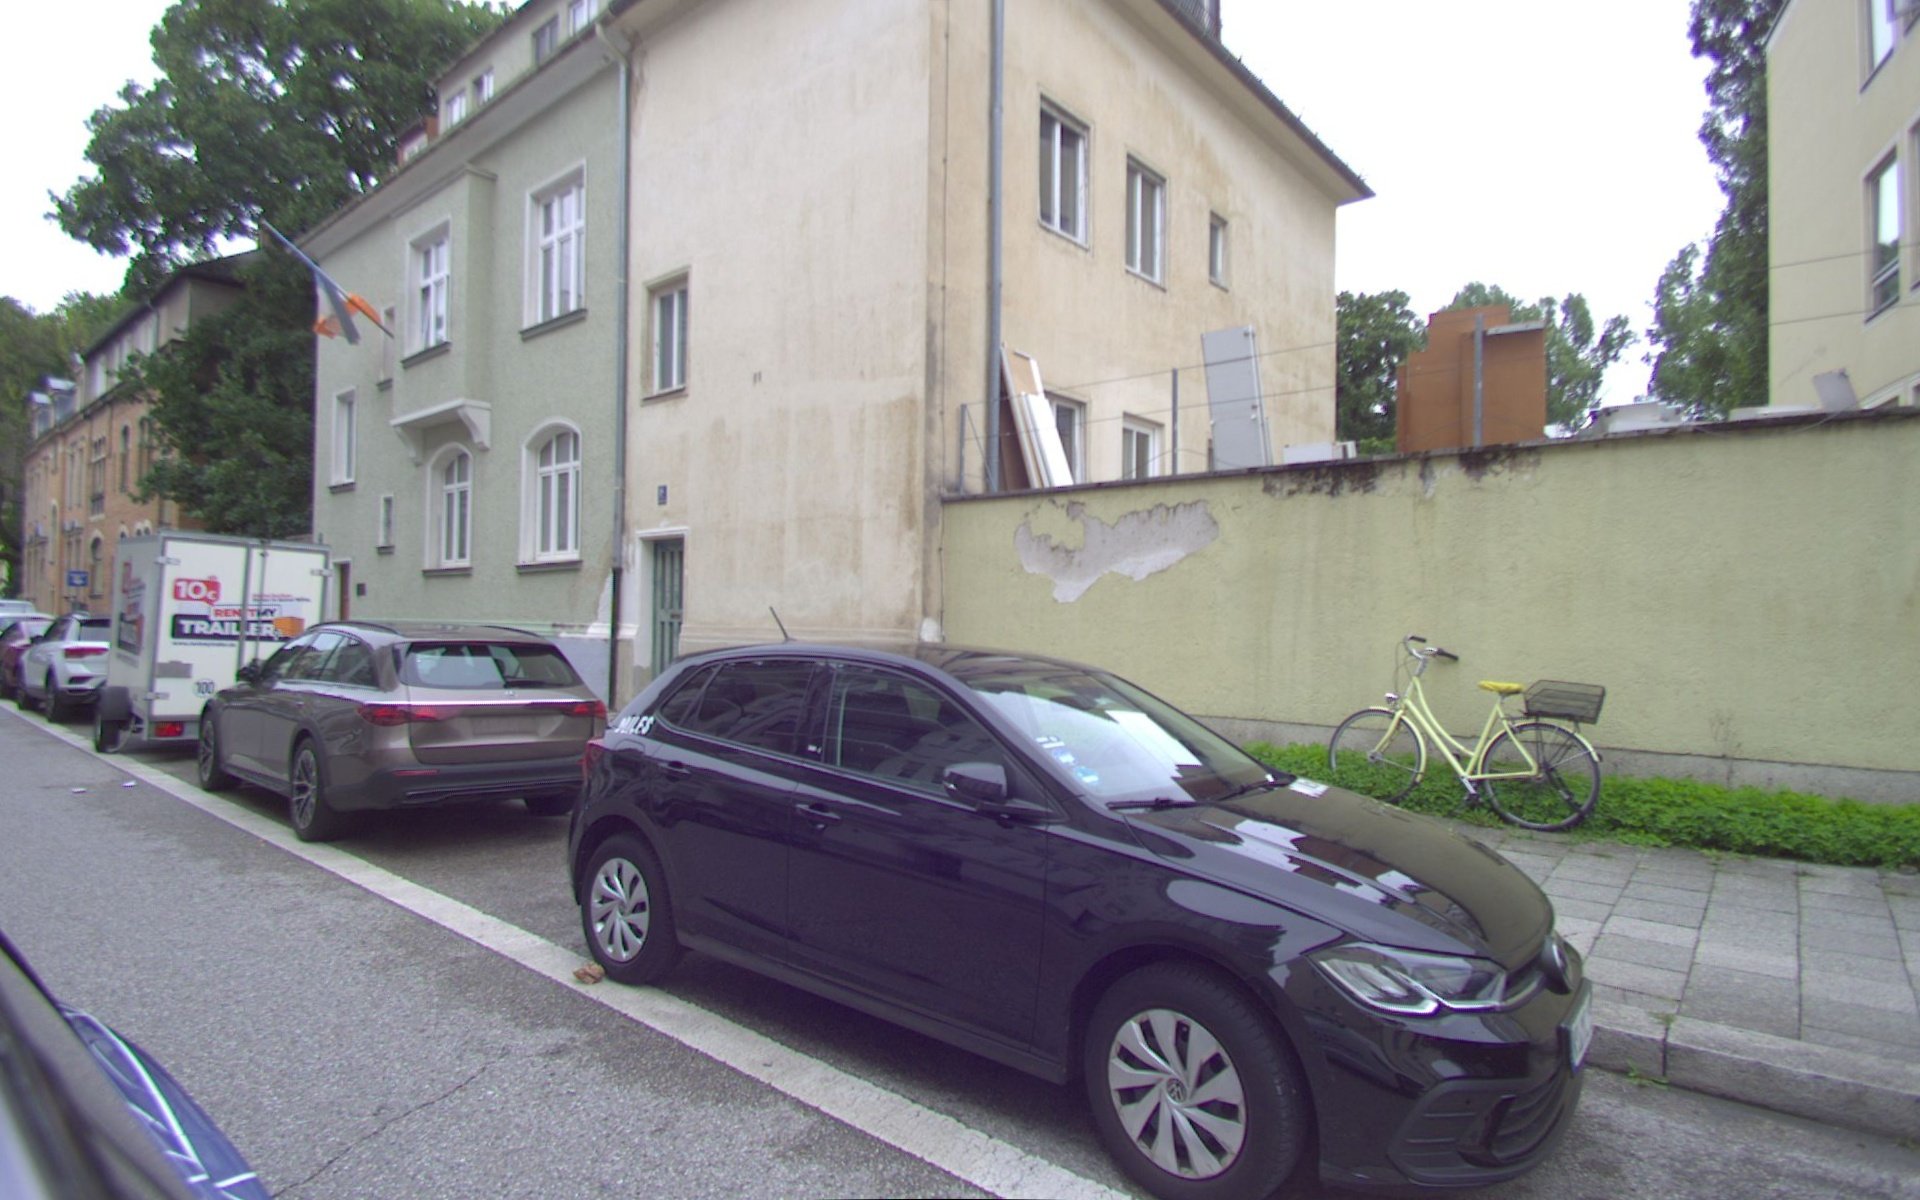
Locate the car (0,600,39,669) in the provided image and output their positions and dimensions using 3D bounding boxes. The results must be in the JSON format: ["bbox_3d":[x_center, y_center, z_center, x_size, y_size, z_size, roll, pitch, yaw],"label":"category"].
[{"bbox_3d":[-25.721,0.888,26.617,3.647,1.747,1.794,-1,-1,41],"label":"car"}]

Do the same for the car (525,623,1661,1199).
[{"bbox_3d":[0.193,0.827,3.912,4.064,1.436,1.677,-1,-2,38],"label":"car"}]

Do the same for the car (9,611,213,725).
[{"bbox_3d":[-13.006,0.947,15.433,3.840,1.525,1.745,-1,-2,41],"label":"car"}]

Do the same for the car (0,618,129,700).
[{"bbox_3d":[-16.927,1.020,18.774,3.745,1.357,1.794,-1,-1,42],"label":"car"}]

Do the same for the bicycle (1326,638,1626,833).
[{"bbox_3d":[3.465,0.850,6.892,1.741,1.140,0.573,-1,-1,38],"label":"bicycle"}]

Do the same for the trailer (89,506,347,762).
[{"bbox_3d":[-8.822,0.417,11.950,3.390,2.555,1.792,-1,-5,45],"label":"trailer"}]

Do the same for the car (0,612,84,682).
[{"bbox_3d":[-21.275,1.011,22.727,3.924,1.463,1.795,-1,-1,40],"label":"car"}]

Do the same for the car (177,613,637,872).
[{"bbox_3d":[-4.650,0.879,8.160,4.642,1.511,1.794,-1,-2,42],"label":"car"}]
